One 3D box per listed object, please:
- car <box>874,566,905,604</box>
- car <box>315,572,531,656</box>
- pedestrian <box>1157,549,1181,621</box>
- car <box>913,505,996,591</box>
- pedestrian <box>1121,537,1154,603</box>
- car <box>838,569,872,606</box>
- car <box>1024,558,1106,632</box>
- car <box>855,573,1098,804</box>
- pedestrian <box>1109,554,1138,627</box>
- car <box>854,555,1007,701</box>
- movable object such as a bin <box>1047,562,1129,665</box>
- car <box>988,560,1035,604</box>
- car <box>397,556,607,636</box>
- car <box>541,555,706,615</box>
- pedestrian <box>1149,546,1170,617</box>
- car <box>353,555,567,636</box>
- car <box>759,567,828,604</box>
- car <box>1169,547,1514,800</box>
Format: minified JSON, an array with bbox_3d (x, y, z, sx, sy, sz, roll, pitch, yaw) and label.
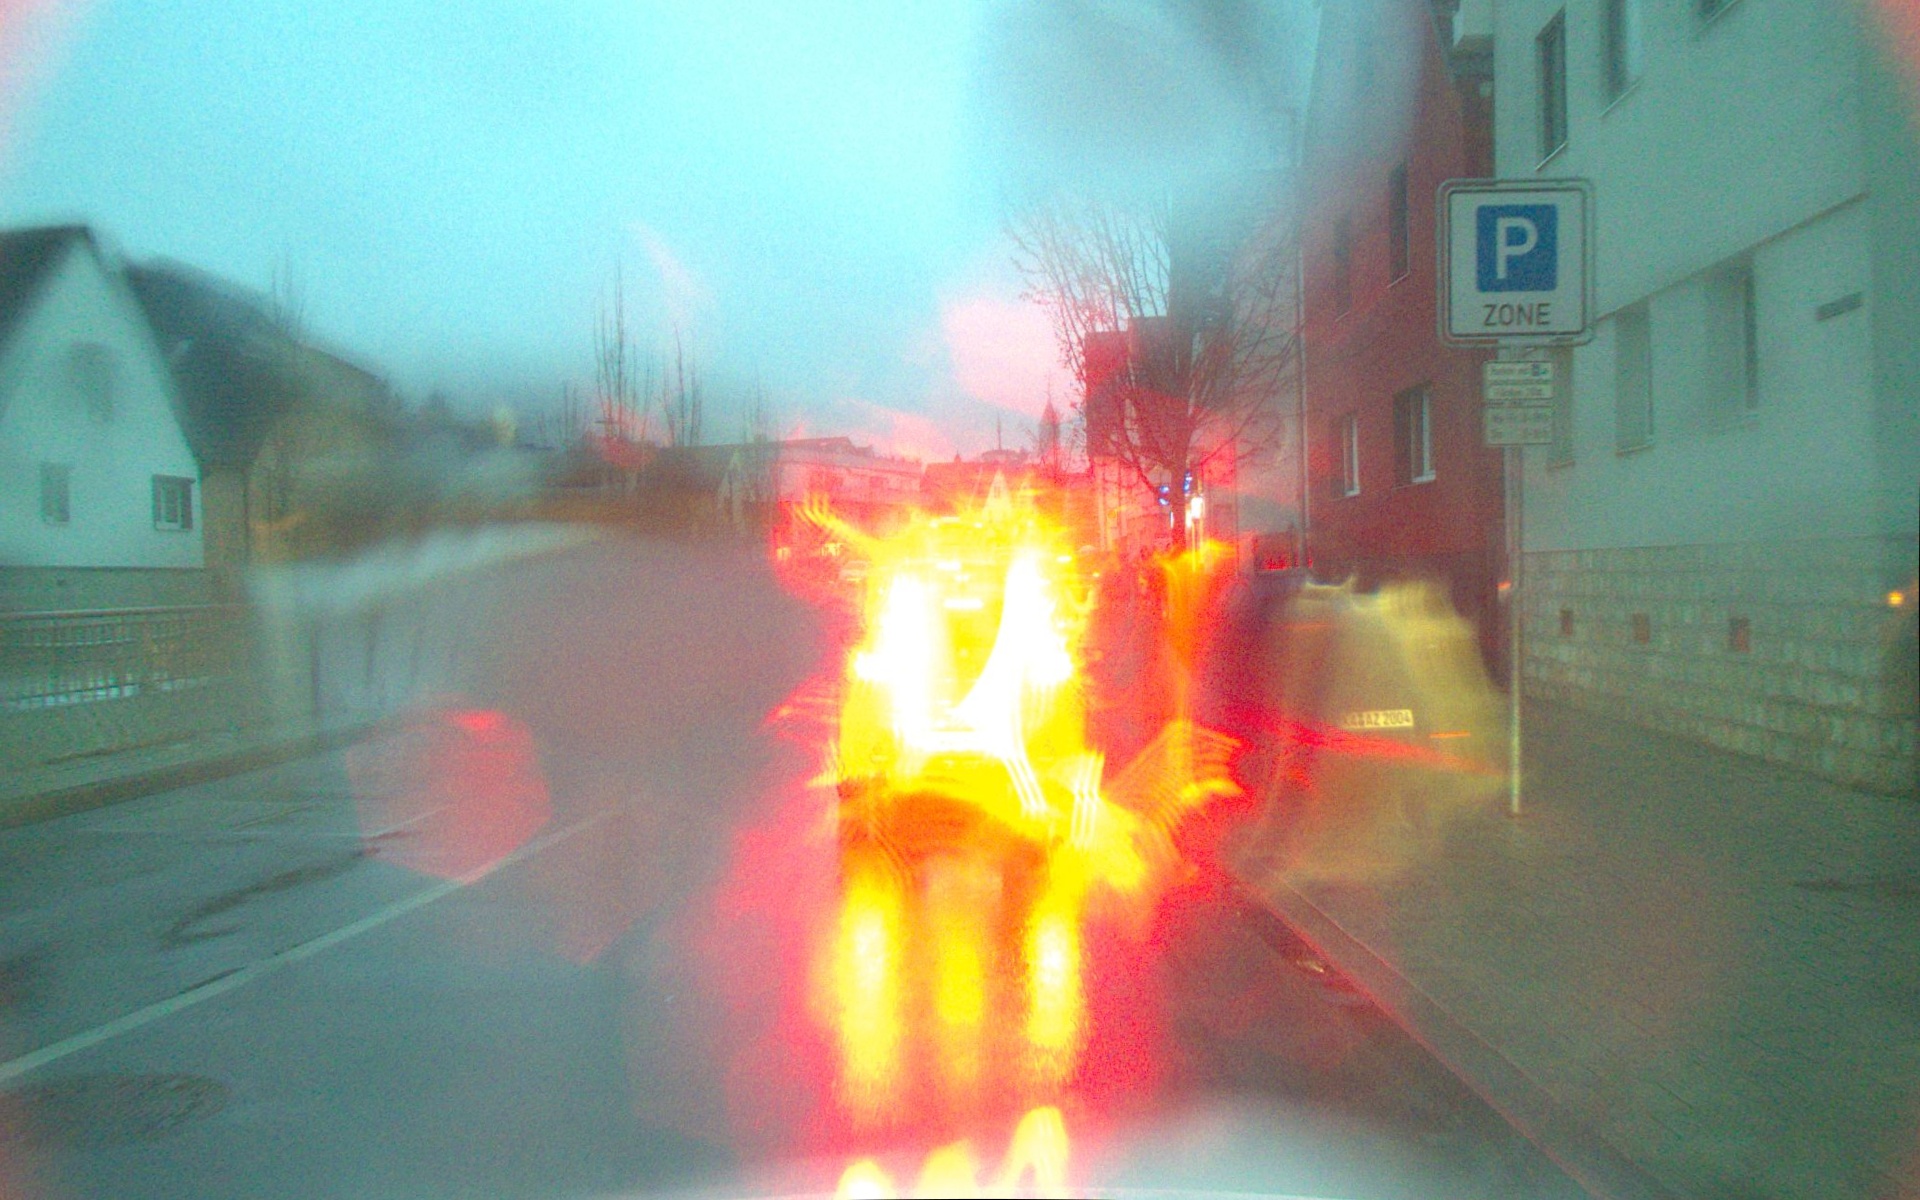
[{"bbox_3d":[-4.452,-0.929,104.588,1.881,2.254,3.973,0,-1,-2],"label":"car"},{"bbox_3d":[-9.735,0.238,30.141,3.375,1.396,1.601,-2,1,-1],"label":"car"},{"bbox_3d":[4.959,-0.346,39.168,0.517,1.682,0.954,0,-1,9],"label":"pedestrian"},{"bbox_3d":[-0.275,-1.981,65.885,3.126,3.085,6.302,0,-1,-2],"label":"car"},{"bbox_3d":[4.840,-0.829,45.085,0.697,1.744,1.035,-2,1,13],"label":"pedestrian"},{"bbox_3d":[-6.110,-0.699,96.546,1.881,2.063,3.973,0,-1,-2],"label":"car"},{"bbox_3d":[2.607,-0.154,41.898,1.700,1.721,4.385,-1,1,-1],"label":"car"},{"bbox_3d":[0.098,0.537,11.950,1.531,1.437,3.018,0,1,0],"label":"car"},{"bbox_3d":[4.003,-0.237,40.482,0.561,1.729,0.653,-3,0,1],"label":"pedestrian"},{"bbox_3d":[-0.345,0.281,20.597,1.730,1.656,3.586,0,1,-1],"label":"car"},{"bbox_3d":[1.963,0.190,25.527,1.106,1.445,1.418,-4,2,2],"label":"movable object such as a bin"},{"bbox_3d":[2.277,-0.788,73.760,1.957,1.897,4.083,0,0,0],"label":"car"},{"bbox_3d":[-9.752,-0.085,35.383,4.007,1.636,1.588,0,0,3],"label":"car"},{"bbox_3d":[-9.964,-0.452,49.293,4.533,1.696,1.999,0,0,-3],"label":"car"},{"bbox_3d":[5.216,-0.498,43.178,0.517,1.831,0.865,0,1,9],"label":"pedestrian"},{"bbox_3d":[-9.937,-0.096,33.015,3.713,1.549,1.716,0,0,6],"label":"car"},{"bbox_3d":[-10.412,-0.893,103.122,4.311,2.204,1.986,-1,-2,44],"label":"car"},{"bbox_3d":[2.681,0.408,12.574,1.693,1.489,4.200,-4,1,2],"label":"car"}]
